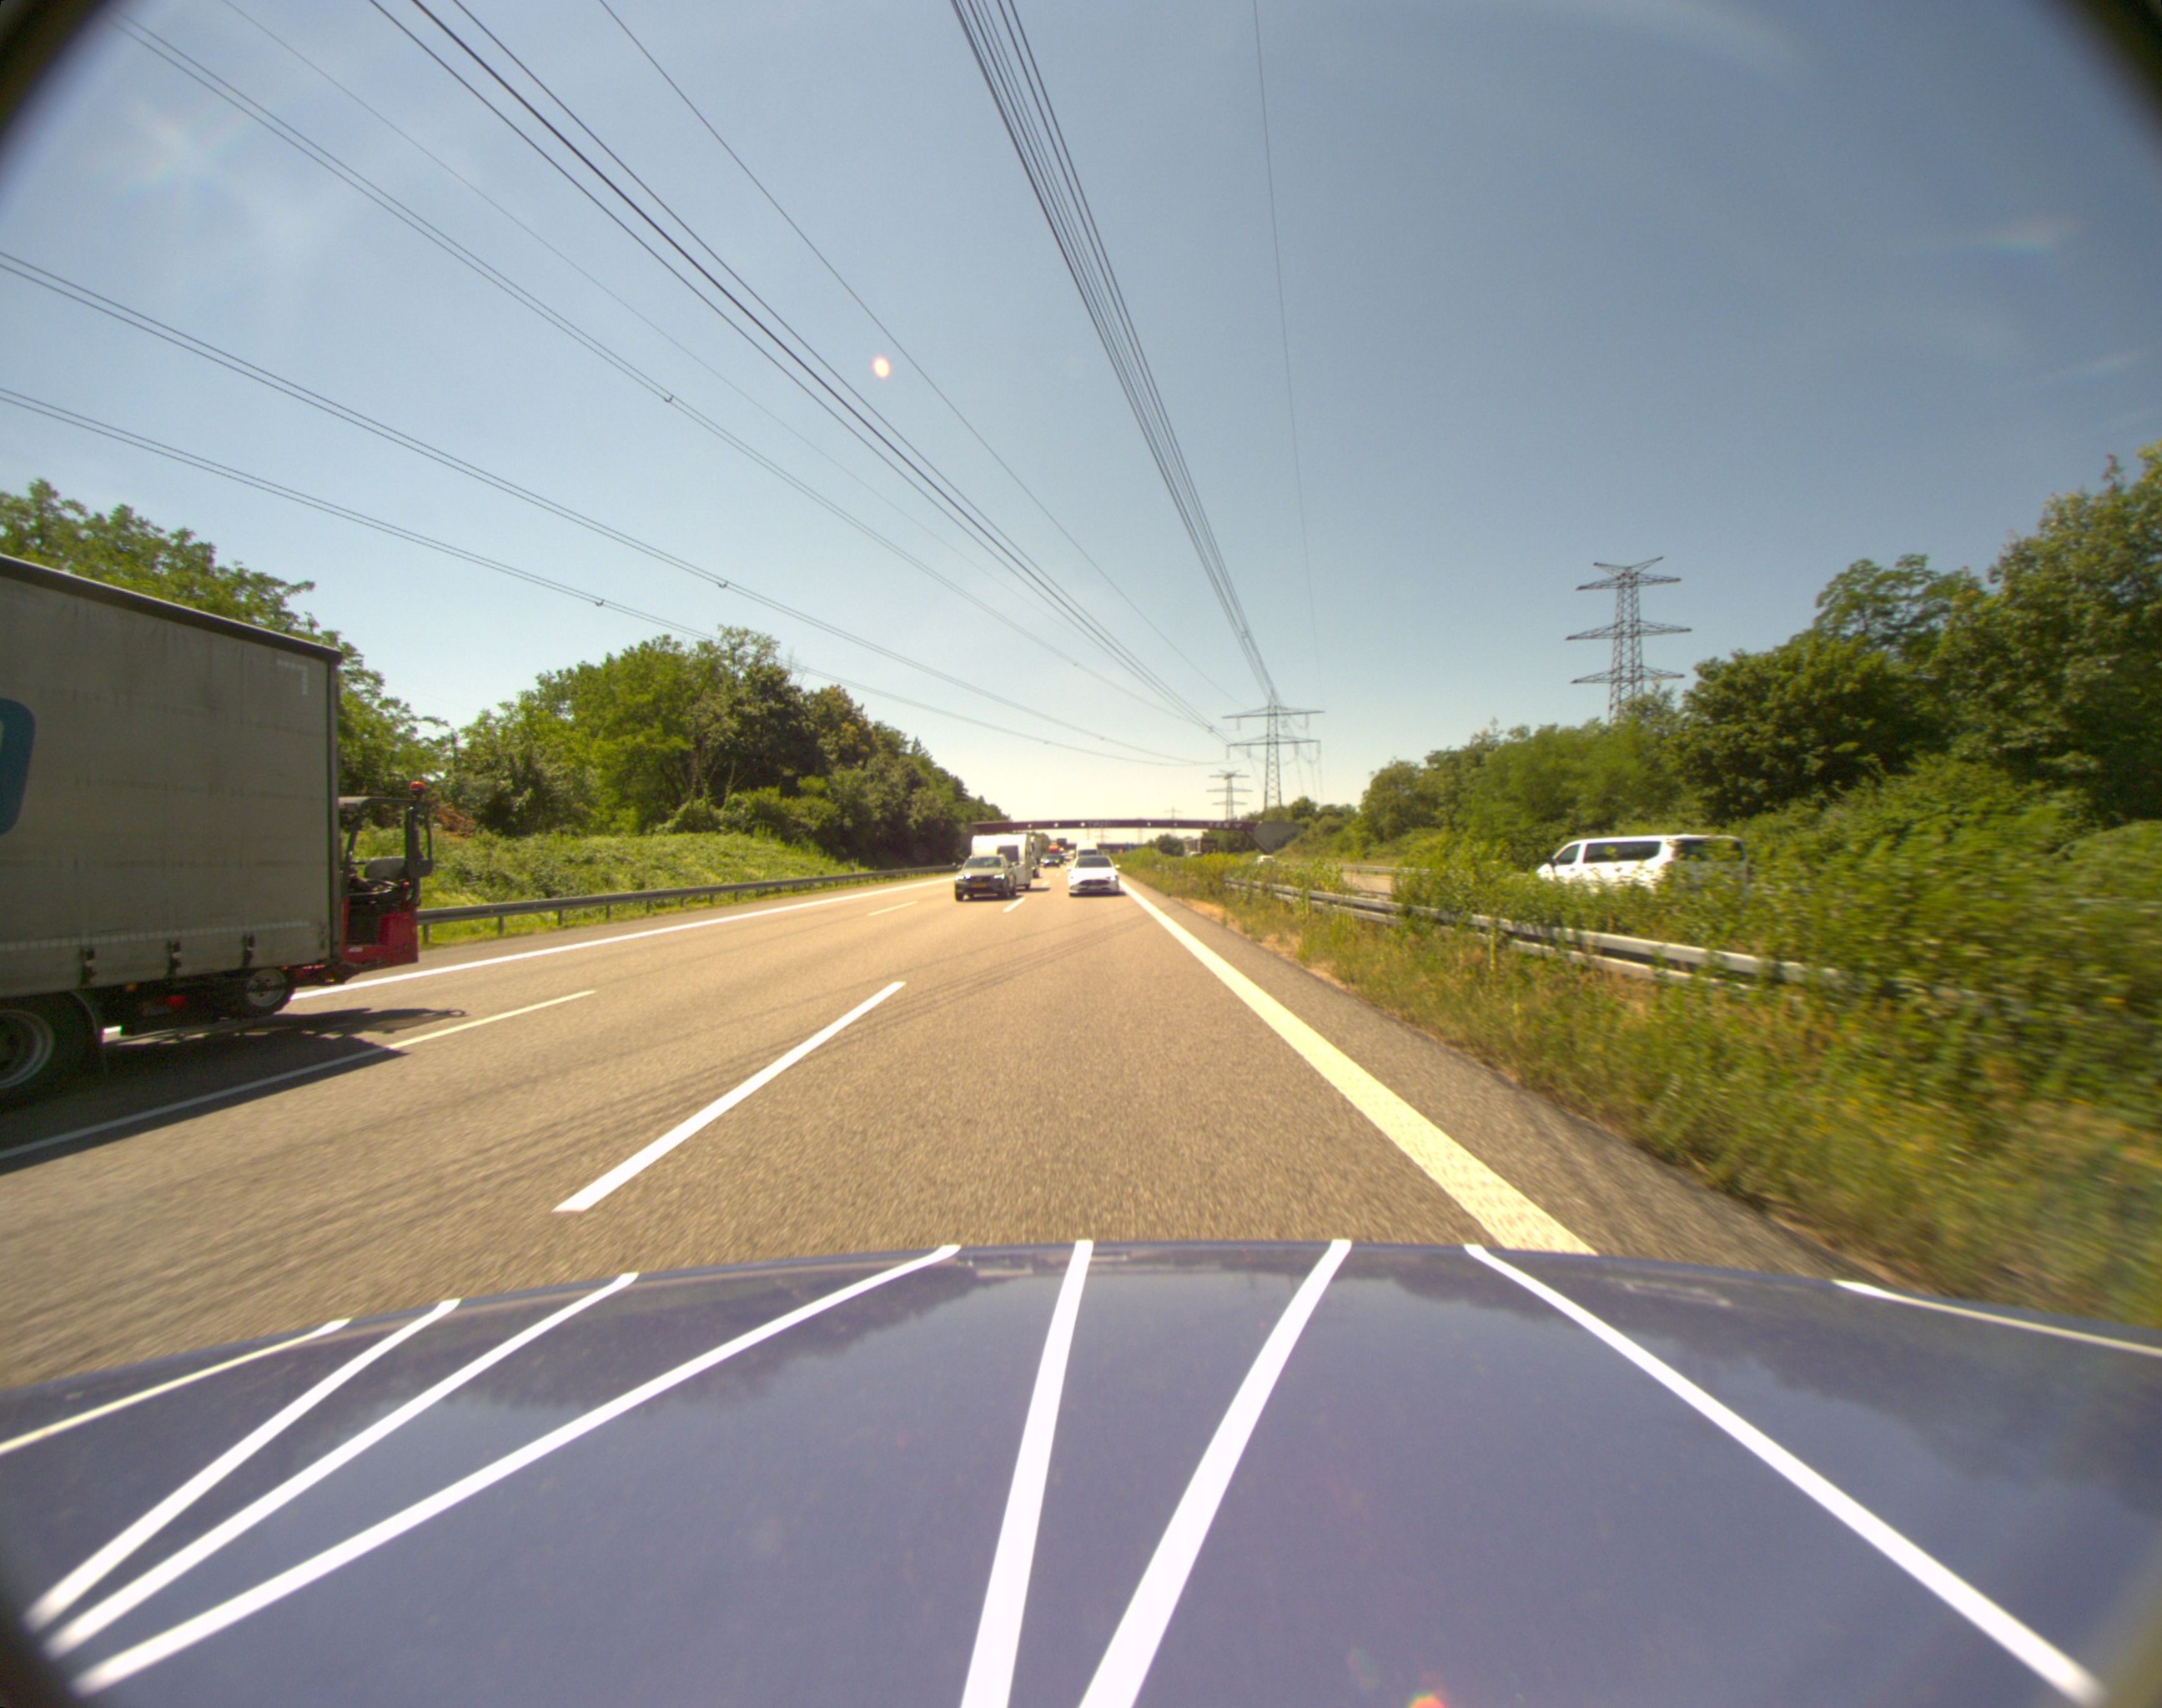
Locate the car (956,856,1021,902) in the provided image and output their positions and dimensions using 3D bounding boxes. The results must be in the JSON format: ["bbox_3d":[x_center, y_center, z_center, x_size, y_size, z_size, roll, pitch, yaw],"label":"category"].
[{"bbox_3d":[-3.334,0.856,28.073,1.788,1.520,4.104,-1,0,1],"label":"car"}]

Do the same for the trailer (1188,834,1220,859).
[{"bbox_3d":[18.739,-1.122,116.508,2.881,3.667,12.716,1,1,1],"label":"trailer"}]

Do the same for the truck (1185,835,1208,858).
[{"bbox_3d":[18.812,-1.206,123.733,2.889,3.664,5.411,1,1,1],"label":"truck"}]

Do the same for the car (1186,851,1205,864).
[{"bbox_3d":[14.000,0.407,92.923,1.769,1.586,3.737,1,0,1],"label":"car"}]

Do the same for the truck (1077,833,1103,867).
[{"bbox_3d":[0.836,-0.367,69.283,2.192,2.841,5.503,-3,0,1],"label":"truck"}]

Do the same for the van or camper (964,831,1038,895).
[{"bbox_3d":[-3.345,0.330,33.358,2.411,2.483,6.432,-1,0,1],"label":"van or camper"}]

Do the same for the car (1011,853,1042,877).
[{"bbox_3d":[-3.718,0.731,52.036,1.803,1.533,3.806,0,0,1],"label":"car"}]

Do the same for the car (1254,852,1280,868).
[{"bbox_3d":[18.642,0.576,76.419,1.717,1.493,3.737,1,0,1],"label":"car"}]

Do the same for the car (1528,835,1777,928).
[{"bbox_3d":[13.645,0.568,18.736,1.999,1.921,5.413,1,0,-1],"label":"car"}]

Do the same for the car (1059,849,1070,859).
[{"bbox_3d":[-3.330,0.074,154.976,1.998,2.002,4.000,0,0,1],"label":"car"}]

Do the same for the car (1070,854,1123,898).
[{"bbox_3d":[0.574,0.769,28.553,1.788,1.462,4.000,-2,1,1],"label":"car"}]

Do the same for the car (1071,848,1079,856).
[{"bbox_3d":[-1.518,-0.481,196.847,1.998,2.002,4.000,-1,0,1],"label":"car"}]

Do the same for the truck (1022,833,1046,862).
[{"bbox_3d":[-6.392,-0.940,104.275,2.584,3.704,8.279,-2,1,1],"label":"truck"}]

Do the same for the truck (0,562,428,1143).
[{"bbox_3d":[-7.986,0.016,2.939,1.987,3.750,10.042,-2,0,1],"label":"truck"}]

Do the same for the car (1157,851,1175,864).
[{"bbox_3d":[10.182,0.419,91.223,1.769,1.586,3.737,1,0,1],"label":"car"}]

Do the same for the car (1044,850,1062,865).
[{"bbox_3d":[-3.375,0.385,91.441,1.904,1.662,4.000,-2,0,1],"label":"car"}]

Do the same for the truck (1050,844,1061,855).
[{"bbox_3d":[-6.764,-1.228,205.530,2.619,2.801,6.593,-1,0,1],"label":"truck"}]
